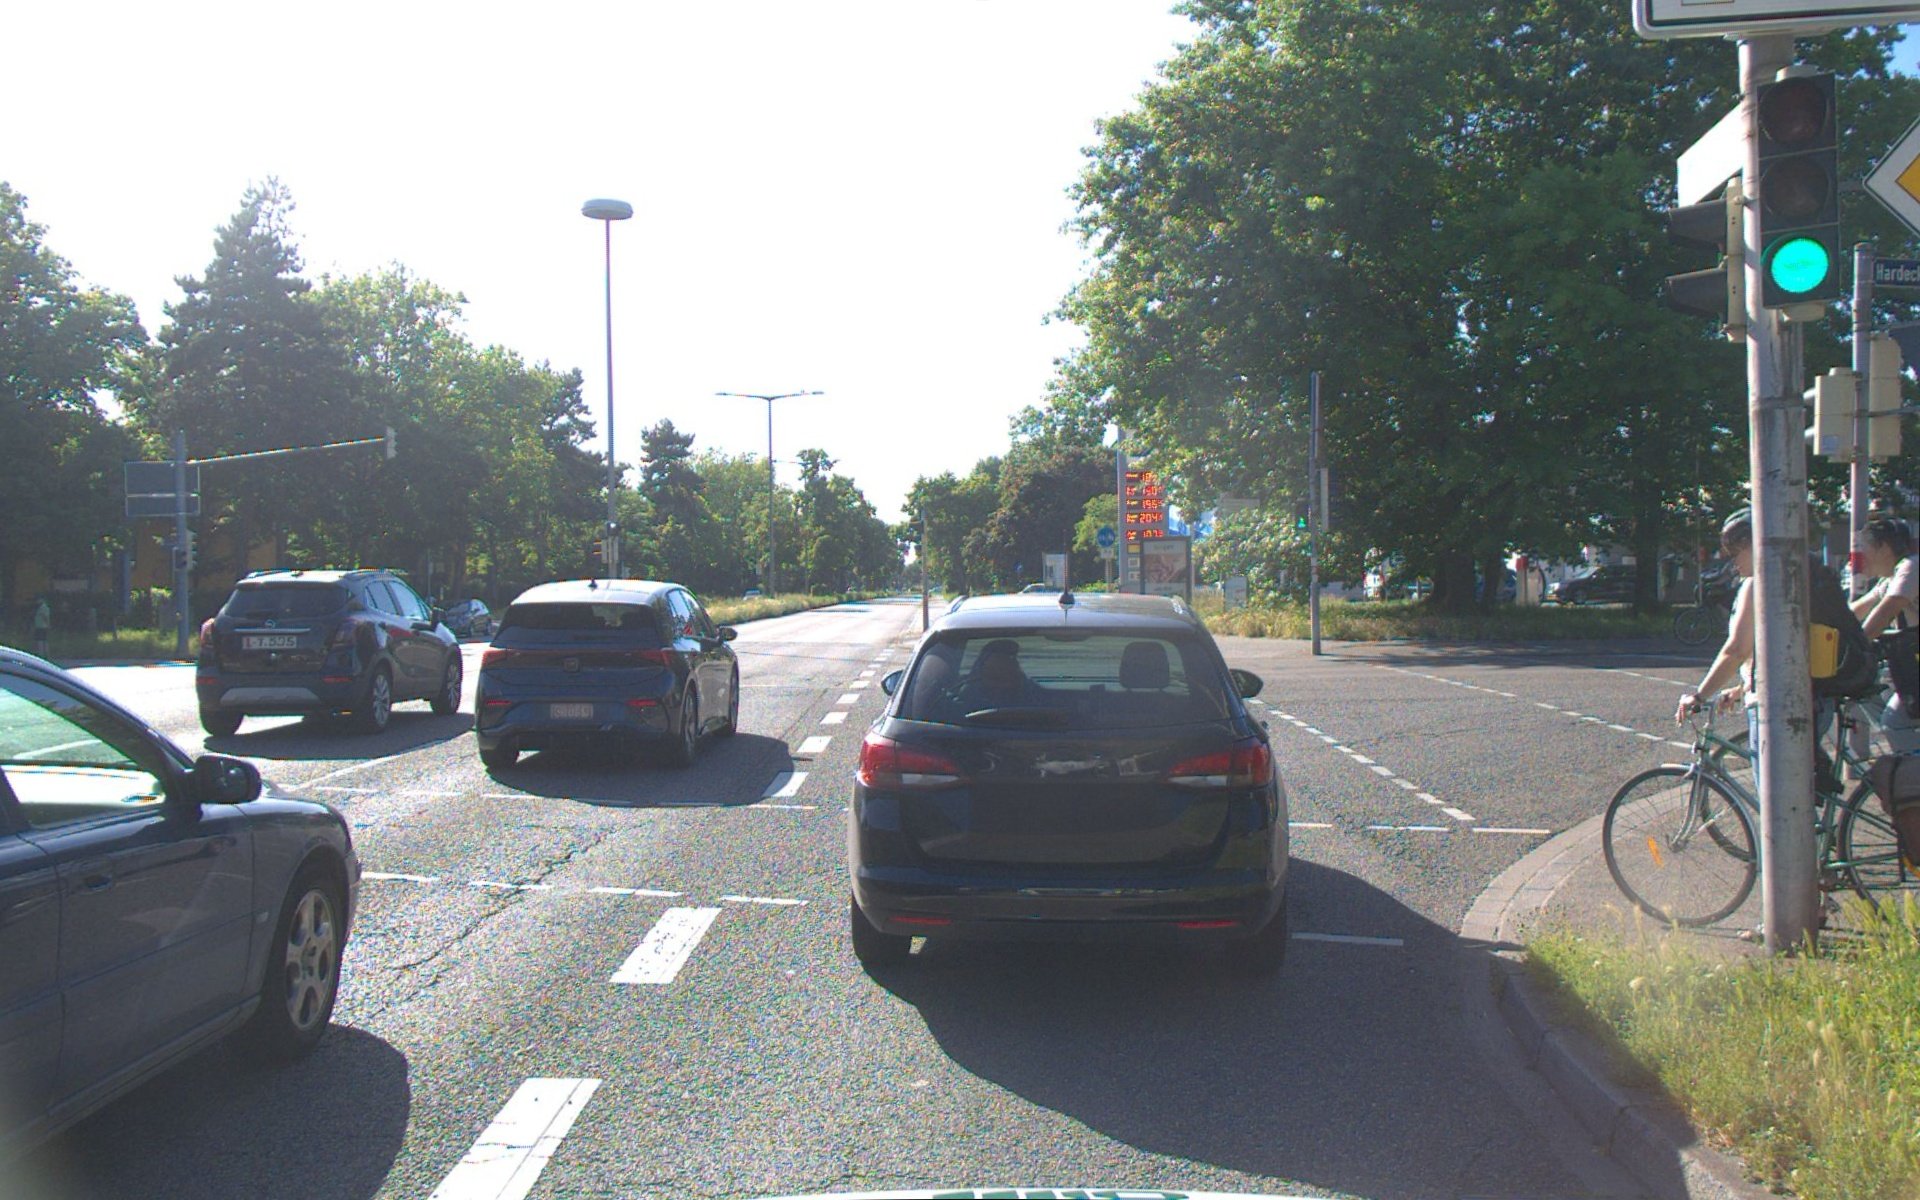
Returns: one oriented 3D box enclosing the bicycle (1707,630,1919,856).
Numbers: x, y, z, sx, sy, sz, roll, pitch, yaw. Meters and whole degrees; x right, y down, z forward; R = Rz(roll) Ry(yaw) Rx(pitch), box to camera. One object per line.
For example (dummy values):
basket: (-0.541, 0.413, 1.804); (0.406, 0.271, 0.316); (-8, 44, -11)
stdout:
bicycle: (4.794, 0.698, 8.249); (1.833, 1.095, 0.529); (-4, -4, 37)

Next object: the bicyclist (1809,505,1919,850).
bicyclist: (4.772, 0.381, 8.255); (0.791, 1.664, 0.541); (-5, -4, 35)

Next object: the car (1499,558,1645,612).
car: (18.529, -0.456, 50.098); (3.915, 1.538, 1.528); (1, 0, -11)

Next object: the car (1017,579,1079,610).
car: (5.863, -0.373, 110.387); (1.982, 2.049, 3.940); (1, 0, -41)

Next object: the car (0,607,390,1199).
car: (-2.892, 0.745, 3.722); (1.799, 1.419, 4.363); (1, 0, -2)

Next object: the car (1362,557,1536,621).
car: (17.234, -0.379, 58.440); (5.521, 2.136, 1.999); (1, 0, -2)

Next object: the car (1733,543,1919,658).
car: (13.529, -0.016, 22.908); (4.769, 1.515, 1.844); (-1, 0, 11)

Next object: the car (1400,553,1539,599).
car: (16.290, -0.749, 52.942); (3.917, 1.358, 1.794); (1, 0, -12)

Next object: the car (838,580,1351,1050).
car: (0.491, 0.707, 7.760); (1.725, 1.517, 4.292); (-1, 1, 1)

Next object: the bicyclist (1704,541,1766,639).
bicyclist: (13.555, -0.175, 28.948); (0.810, 1.670, 0.543); (-1, 0, 5)

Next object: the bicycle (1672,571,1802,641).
bicycle: (13.591, 0.102, 28.948); (1.976, 1.161, 0.529); (-1, 0, 5)

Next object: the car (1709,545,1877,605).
car: (21.156, -0.619, 42.000); (3.935, 1.400, 1.746); (1, 0, -25)

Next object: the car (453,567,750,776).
car: (-3.081, 0.556, 15.135); (1.799, 1.616, 4.364); (1, 0, -1)

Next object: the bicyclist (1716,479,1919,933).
bicyclist: (3.486, 0.419, 6.687); (0.574, 1.726, 0.524); (-5, -4, 39)

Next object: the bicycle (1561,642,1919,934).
bicycle: (3.473, 0.739, 6.692); (1.835, 1.095, 0.528); (-5, -4, 39)

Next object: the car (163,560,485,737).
car: (-6.772, 0.469, 18.168); (1.871, 1.681, 4.364); (1, 0, -1)

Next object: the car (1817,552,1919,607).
car: (29.268, -0.625, 51.728); (3.907, 1.635, 1.999); (1, 0, -2)
